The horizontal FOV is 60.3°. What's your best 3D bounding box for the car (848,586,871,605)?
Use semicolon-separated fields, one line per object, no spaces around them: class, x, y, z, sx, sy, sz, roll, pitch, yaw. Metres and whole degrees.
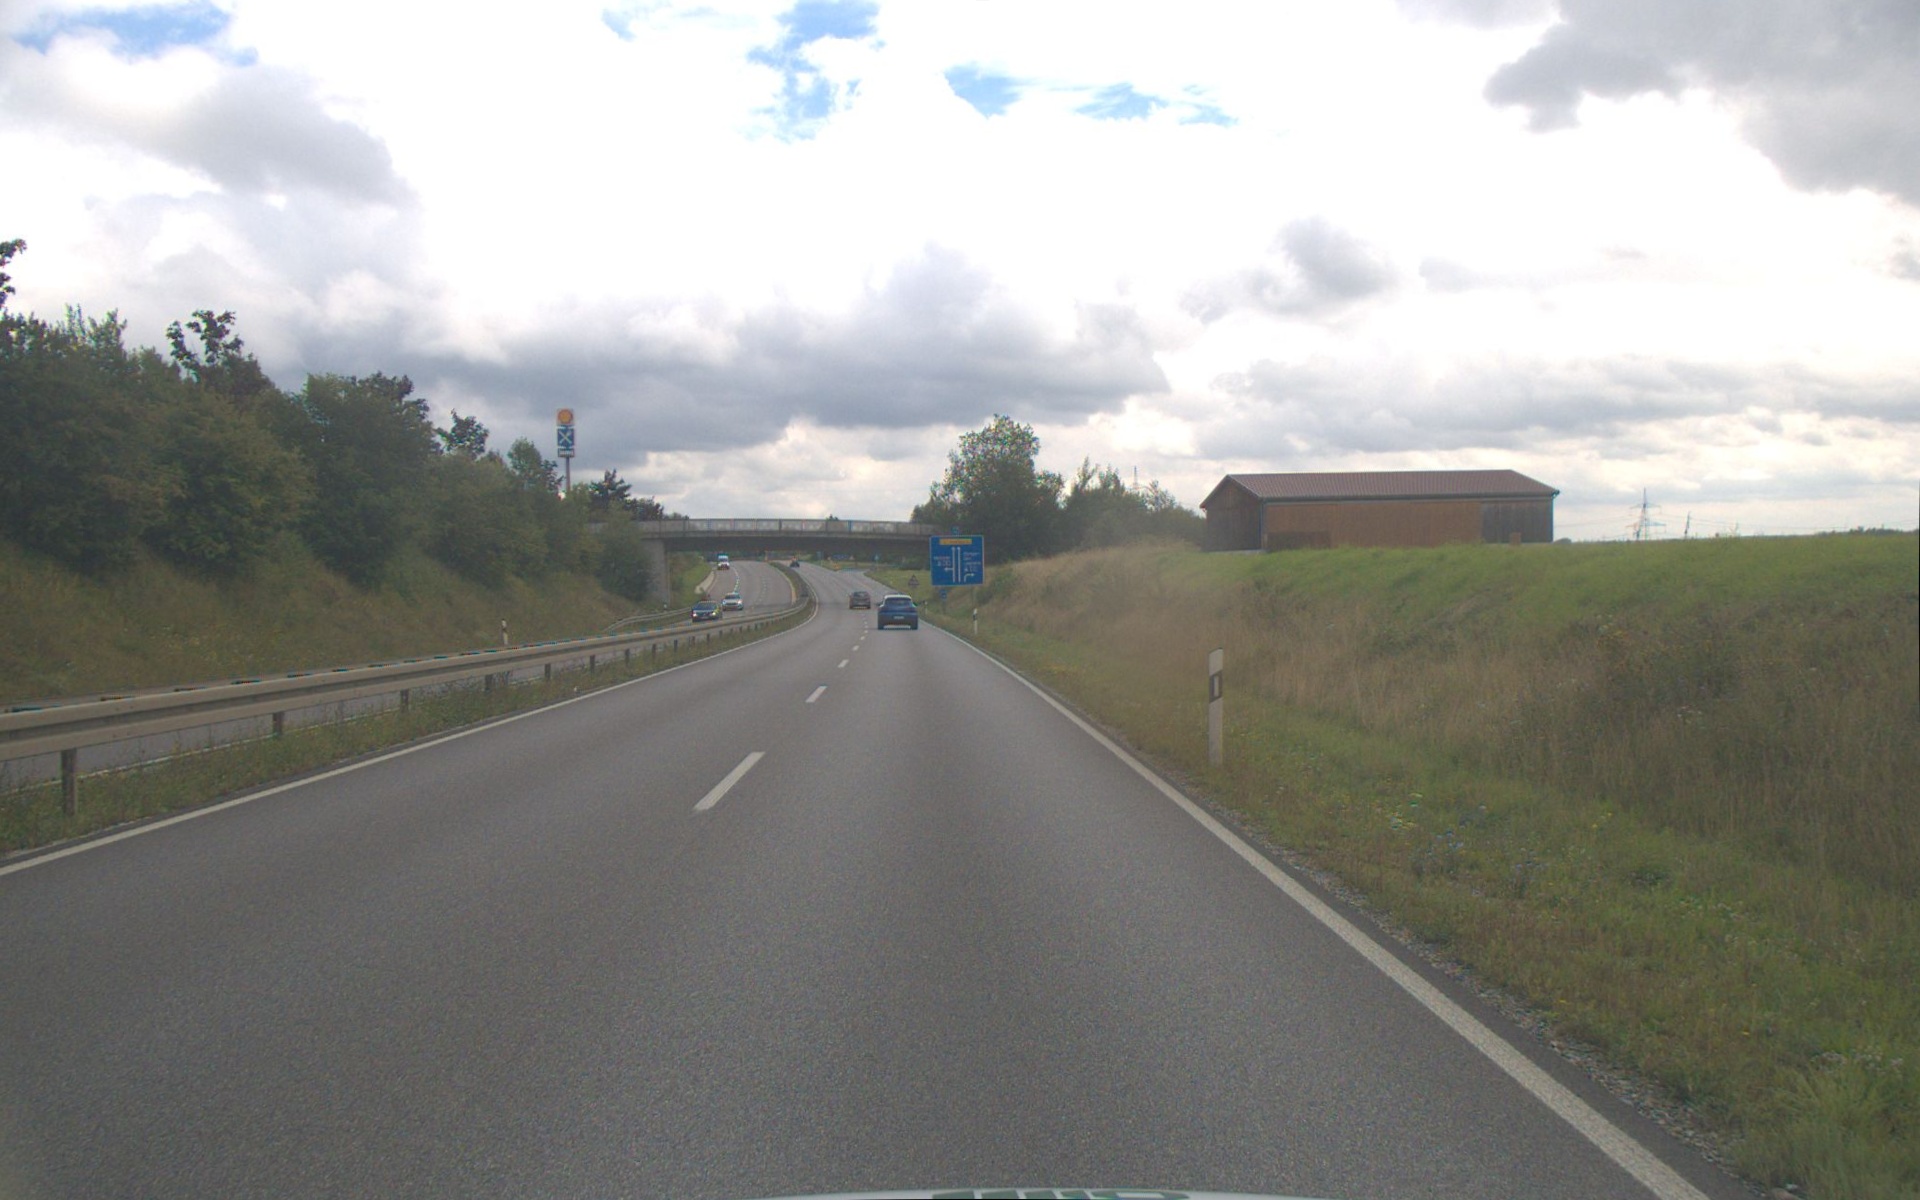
car;-8.543;-0.364;139.993;1.879;1.478;4.360;-1;1;-4

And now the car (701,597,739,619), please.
car;-15.596;0.505;107.615;1.953;1.327;4.820;-1;1;-2

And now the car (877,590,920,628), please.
car;-2.979;0.416;79.670;1.993;1.689;4.541;0;2;-3

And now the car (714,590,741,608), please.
car;-20.640;-0.103;147.091;1.954;1.478;3.998;-1;1;-3
